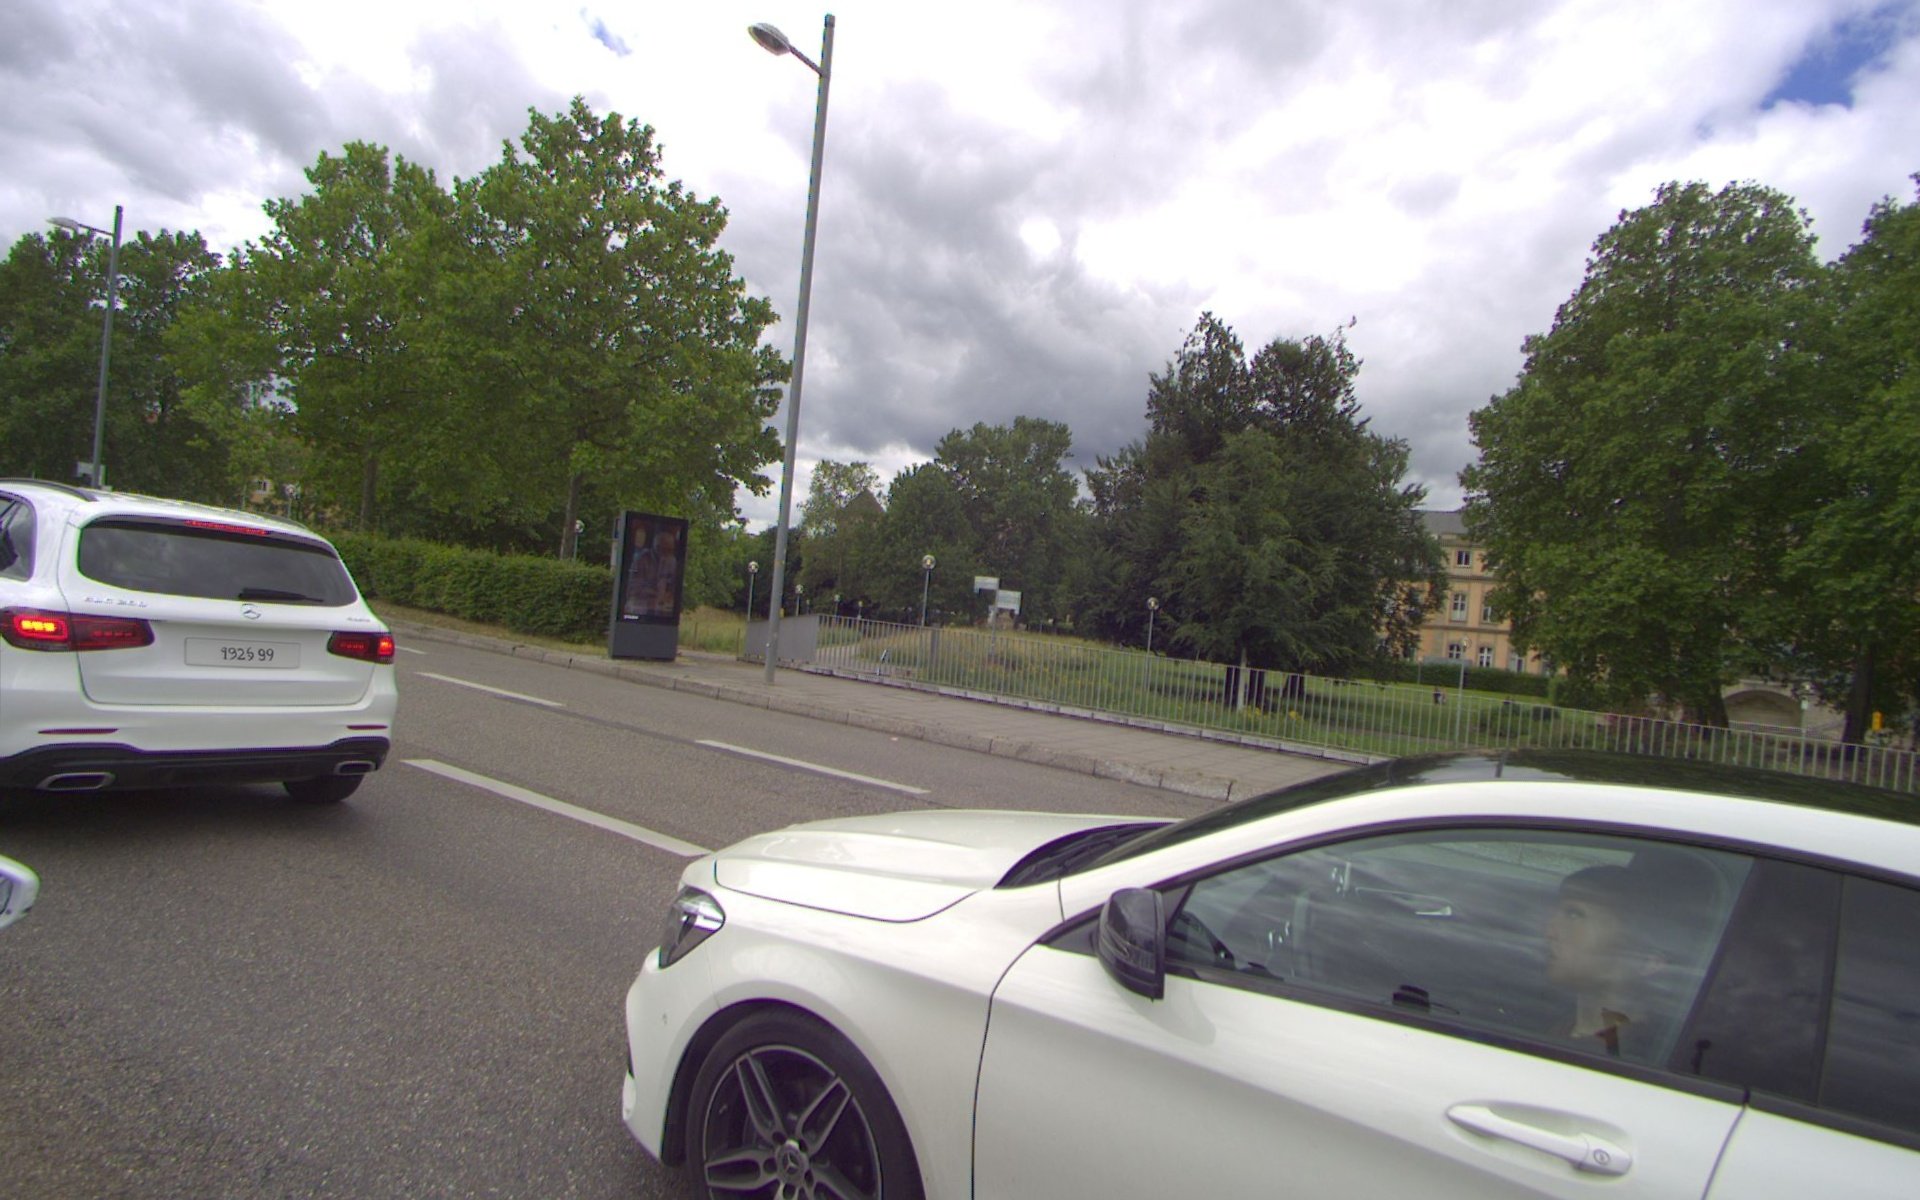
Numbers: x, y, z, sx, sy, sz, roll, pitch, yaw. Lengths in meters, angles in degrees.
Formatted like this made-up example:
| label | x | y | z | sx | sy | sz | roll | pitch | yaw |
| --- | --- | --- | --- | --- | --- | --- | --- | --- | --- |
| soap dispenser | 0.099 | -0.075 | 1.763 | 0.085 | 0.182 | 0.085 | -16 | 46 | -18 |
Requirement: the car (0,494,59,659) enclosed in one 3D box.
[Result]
| label | x | y | z | sx | sy | sz | roll | pitch | yaw |
| --- | --- | --- | --- | --- | --- | --- | --- | --- | --- |
| car | -11.317 | -0.473 | 10.406 | 3.738 | 1.604 | 1.897 | 7 | -1 | 32 |

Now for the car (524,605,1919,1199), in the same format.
| label | x | y | z | sx | sy | sz | roll | pitch | yaw |
| --- | --- | --- | --- | --- | --- | --- | --- | --- | --- |
| car | 1.268 | 1.005 | 2.155 | 4.432 | 1.440 | 1.722 | 6 | -2 | 32 |

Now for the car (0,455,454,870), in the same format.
| label | x | y | z | sx | sy | sz | roll | pitch | yaw |
| --- | --- | --- | --- | --- | --- | --- | --- | --- | --- |
| car | -5.155 | 0.130 | 5.936 | 4.307 | 1.667 | 1.821 | 7 | -1 | 33 |
